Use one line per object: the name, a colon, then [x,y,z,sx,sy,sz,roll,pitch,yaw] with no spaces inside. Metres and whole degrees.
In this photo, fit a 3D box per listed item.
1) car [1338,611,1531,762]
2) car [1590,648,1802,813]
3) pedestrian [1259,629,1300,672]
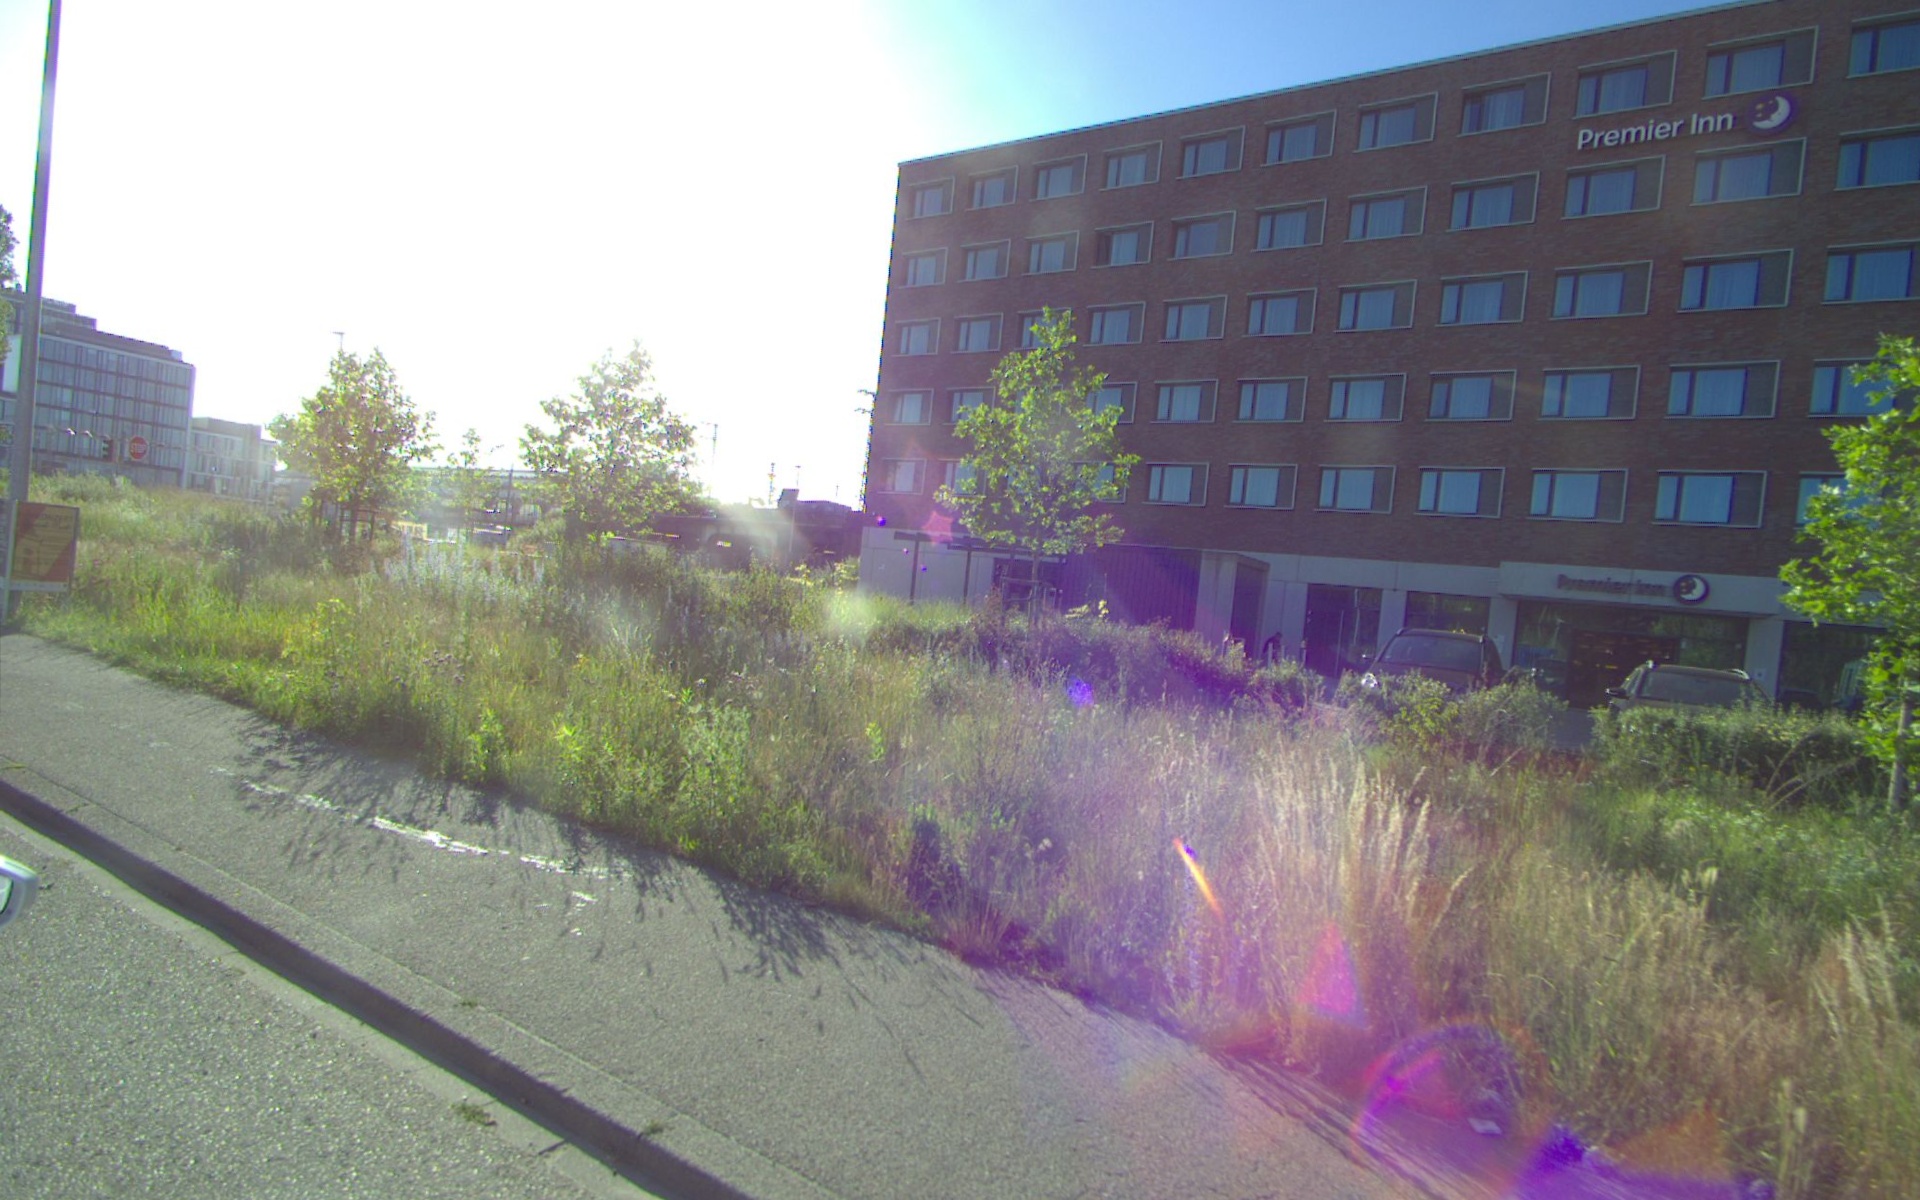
car: [7.114,1.252,14.842,1.822,1.727,3.989,7,0,34]
car: [9.622,1.627,13.377,1.822,1.600,4.187,7,0,34]
pedestrian: [10.872,1.721,34.219,0.993,1.326,0.930,7,1,32]
